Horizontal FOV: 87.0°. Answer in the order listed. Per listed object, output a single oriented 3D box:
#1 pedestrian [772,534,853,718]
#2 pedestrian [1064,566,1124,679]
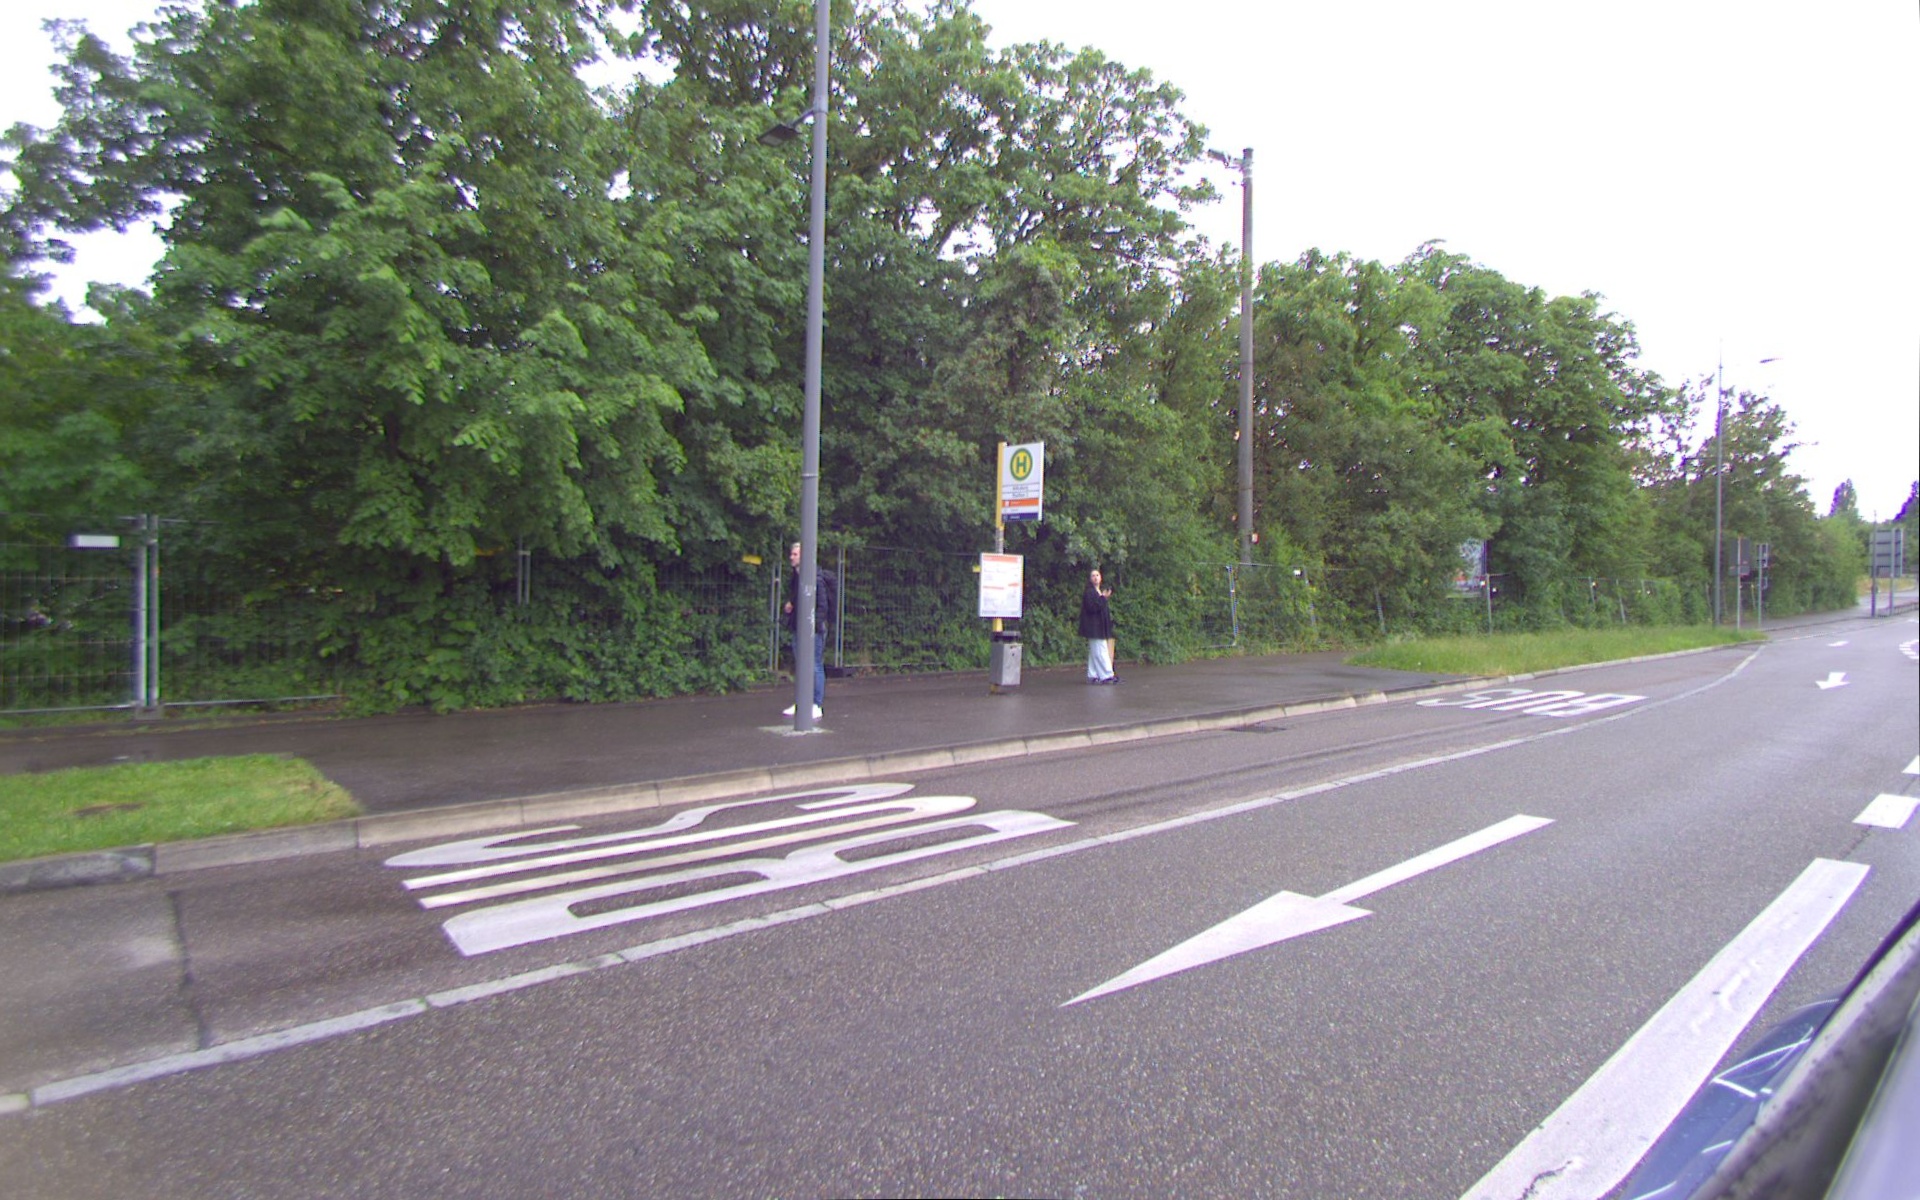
[{"bbox_3d":[-1.658,0.266,11.337,0.587,1.973,0.742,0,1,-40],"label":"pedestrian"},{"bbox_3d":[2.020,0.323,15.247,0.650,1.648,0.588,0,1,-40],"label":"pedestrian"}]
